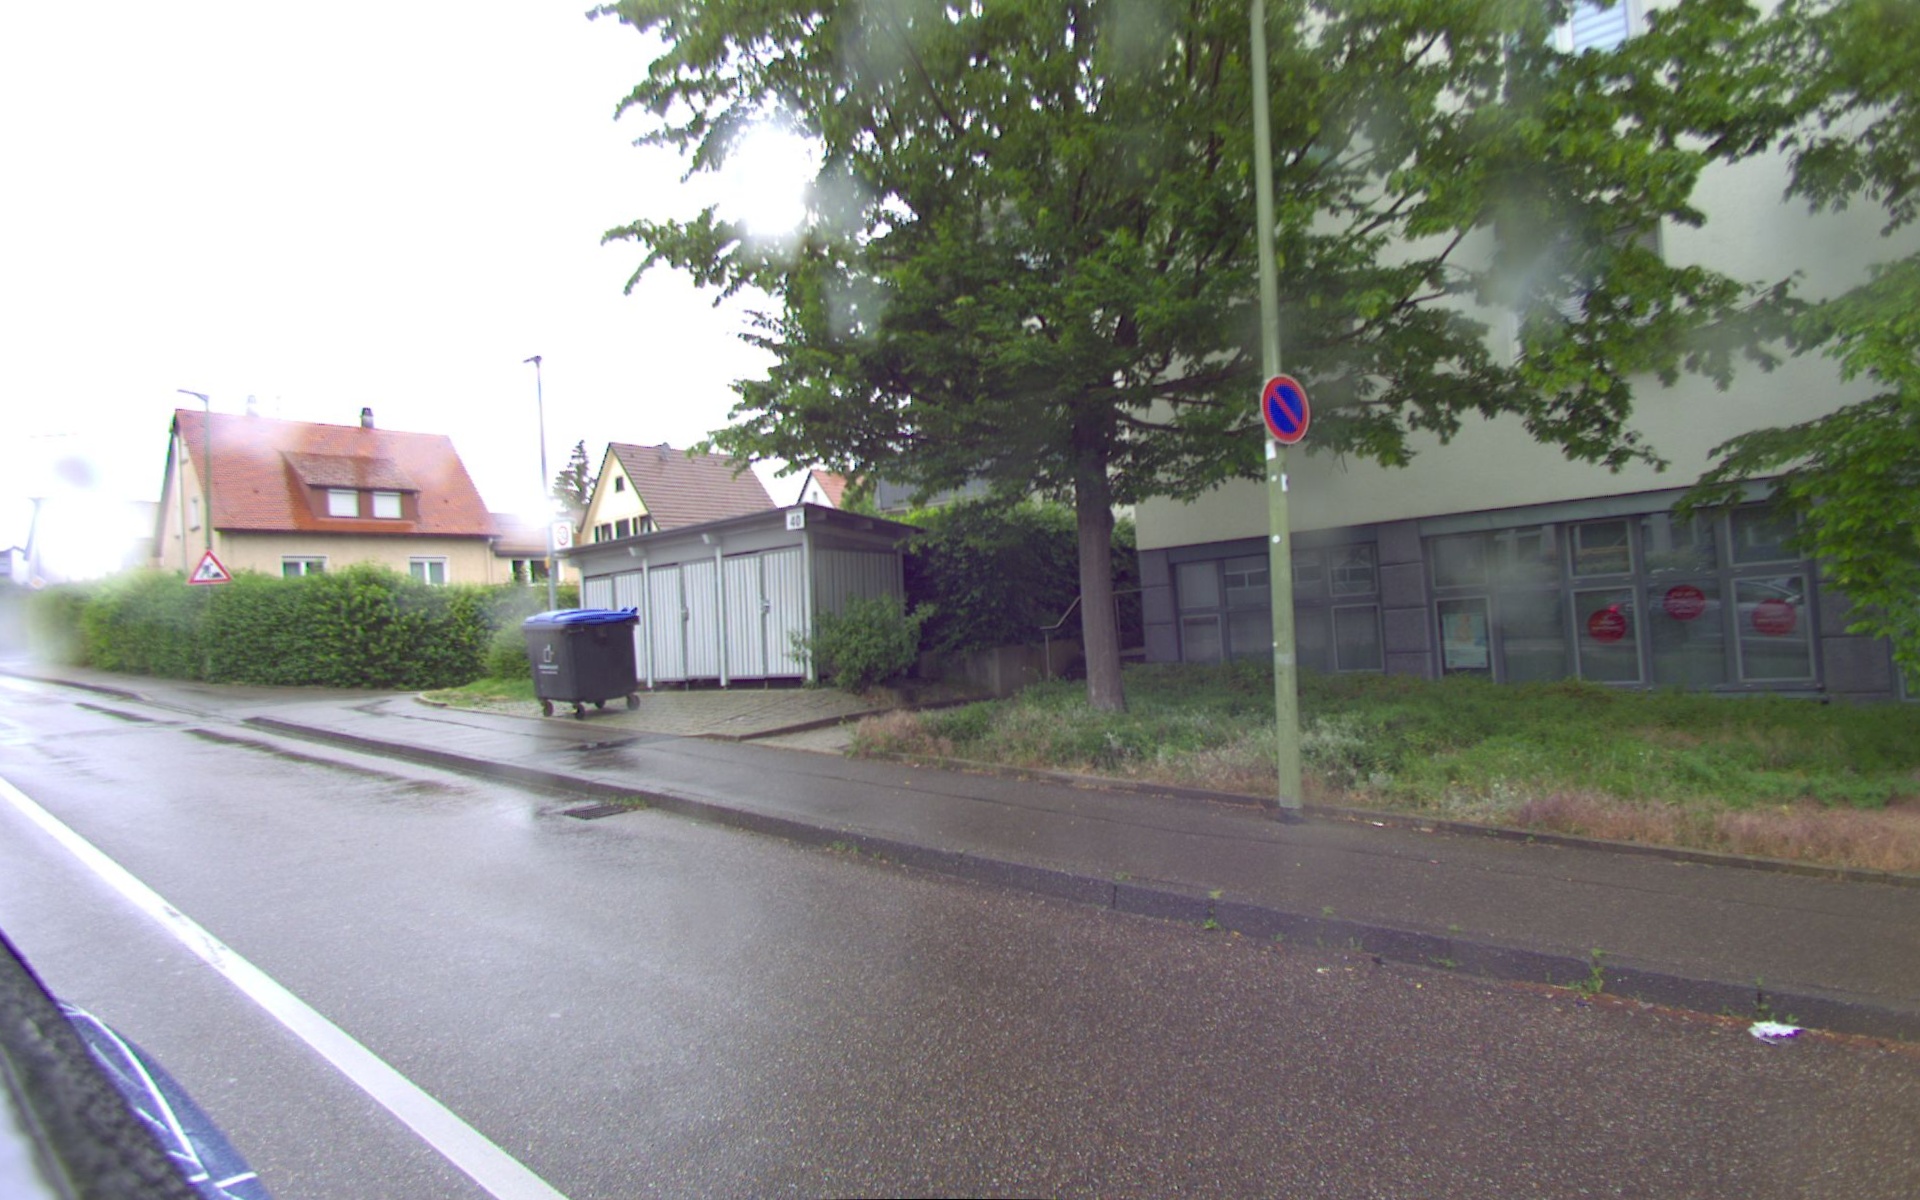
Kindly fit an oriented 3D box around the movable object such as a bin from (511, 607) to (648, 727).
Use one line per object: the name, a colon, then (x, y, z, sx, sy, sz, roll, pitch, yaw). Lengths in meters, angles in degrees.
movable object such as a bin: (-4.758, 0.815, 12.665, 1.201, 1.306, 1.043, -3, 3, 41)
